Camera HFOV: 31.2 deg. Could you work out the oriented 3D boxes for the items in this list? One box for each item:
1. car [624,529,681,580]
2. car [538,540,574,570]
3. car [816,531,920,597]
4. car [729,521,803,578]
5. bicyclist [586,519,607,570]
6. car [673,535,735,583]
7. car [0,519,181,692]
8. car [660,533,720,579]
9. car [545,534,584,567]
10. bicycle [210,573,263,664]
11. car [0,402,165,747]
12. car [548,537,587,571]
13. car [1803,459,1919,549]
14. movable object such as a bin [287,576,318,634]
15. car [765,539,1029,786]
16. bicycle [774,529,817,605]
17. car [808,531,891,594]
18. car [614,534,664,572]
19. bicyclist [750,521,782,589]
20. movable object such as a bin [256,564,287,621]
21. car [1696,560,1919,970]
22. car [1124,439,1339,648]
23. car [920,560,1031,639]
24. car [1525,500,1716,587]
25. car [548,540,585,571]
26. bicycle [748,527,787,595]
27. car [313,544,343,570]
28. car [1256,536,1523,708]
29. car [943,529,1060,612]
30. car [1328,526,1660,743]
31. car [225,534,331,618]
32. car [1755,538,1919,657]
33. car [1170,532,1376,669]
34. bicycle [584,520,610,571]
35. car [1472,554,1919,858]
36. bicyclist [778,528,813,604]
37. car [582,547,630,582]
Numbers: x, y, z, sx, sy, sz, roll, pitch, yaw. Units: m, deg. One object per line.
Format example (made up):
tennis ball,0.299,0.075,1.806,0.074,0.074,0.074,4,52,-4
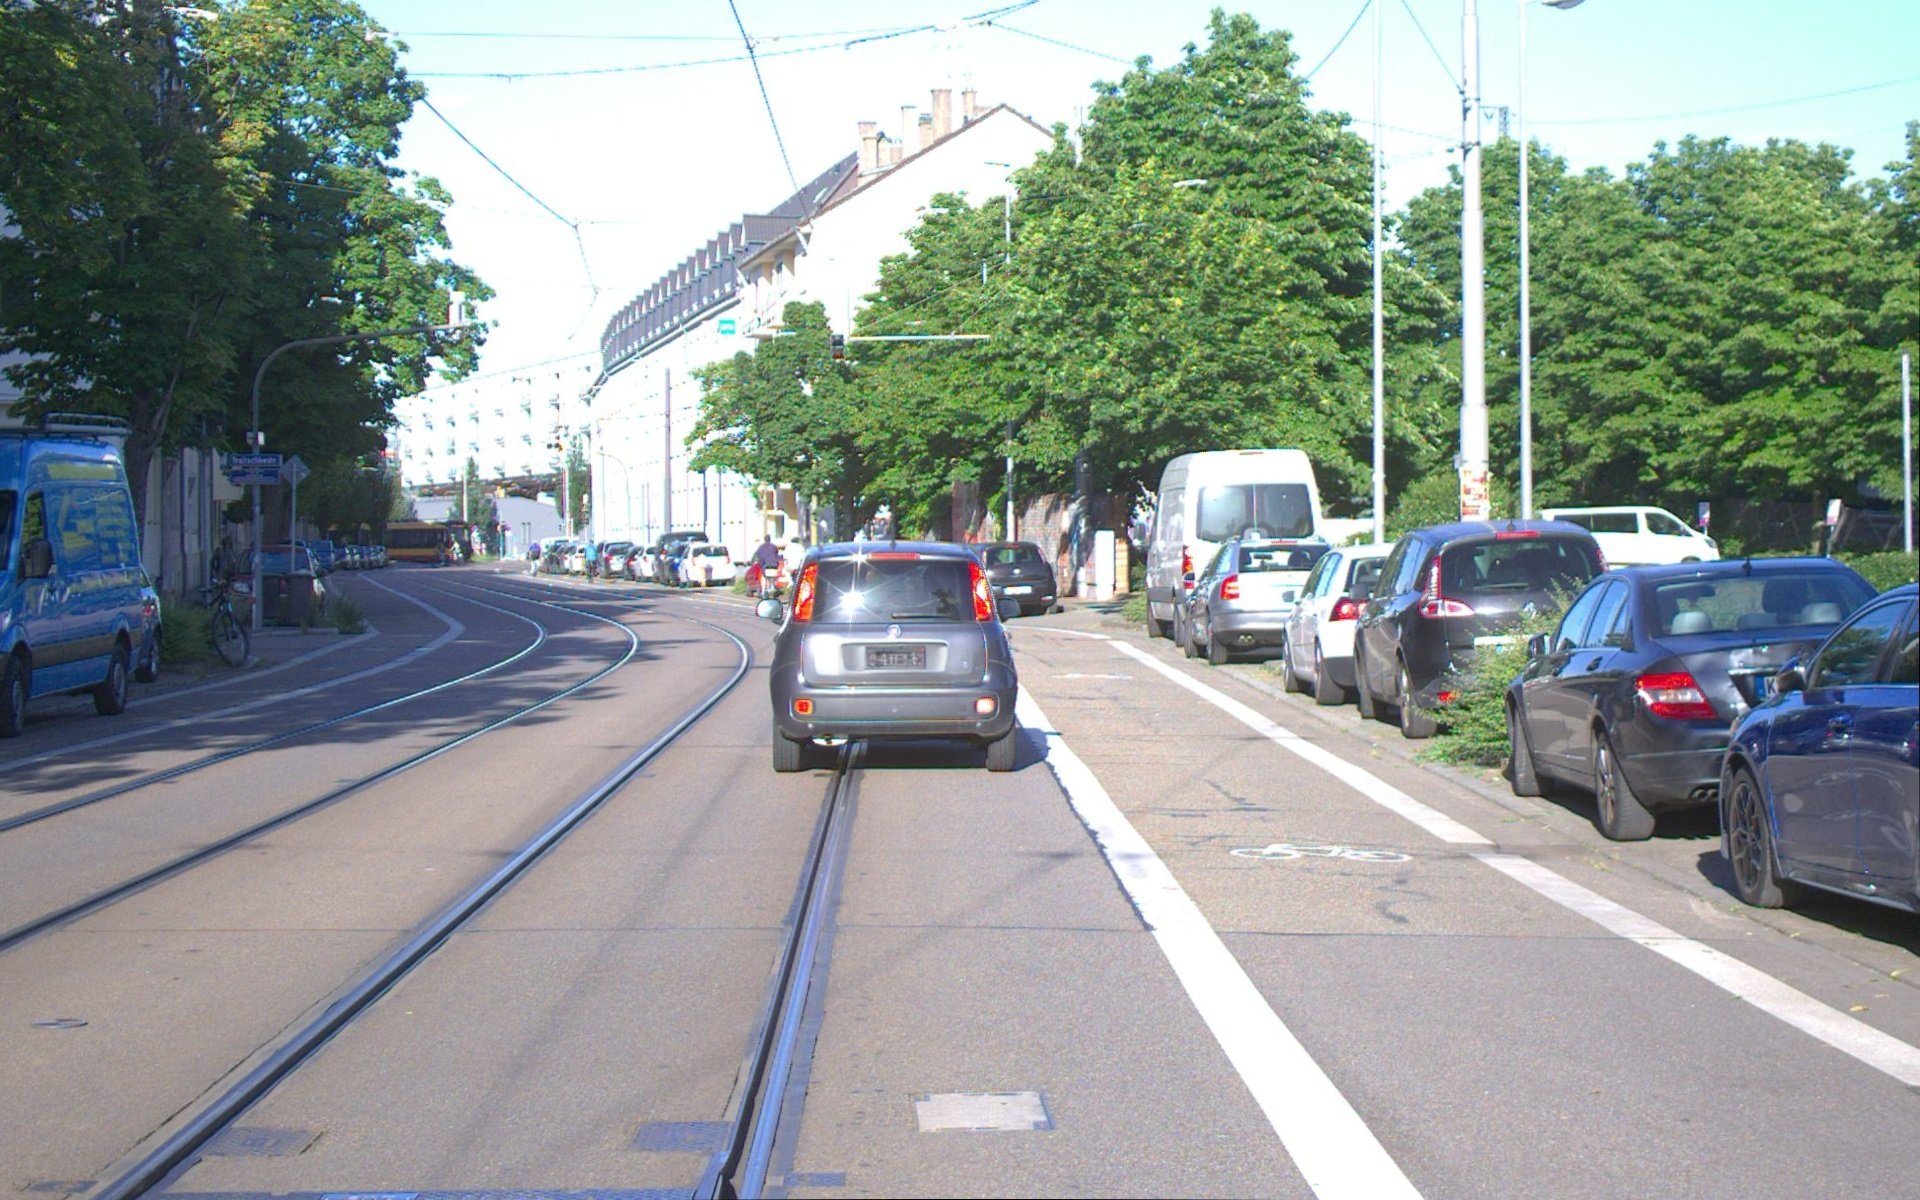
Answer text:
car,-11.848,-1.755,132.332,1.655,1.937,4.666,0,1,-11
car,-21.535,-2.388,183.133,1.582,1.593,3.377,0,1,-12
car,-2.271,-0.881,83.902,1.688,1.525,4.001,-2,1,-13
car,-5.592,-1.457,98.842,1.635,1.503,3.398,-3,1,-10
bicyclist,-14.448,-2.216,136.586,0.715,2.007,0.832,0,1,-12
car,-8.727,-1.402,116.892,1.655,1.566,3.500,0,1,-11
car,-10.060,0.004,37.847,1.791,1.555,4.642,9,1,-1
car,-9.530,-1.553,121.114,1.655,1.566,3.877,0,1,-11
car,-19.662,-2.464,170.788,1.582,1.593,3.377,0,1,-12
bicycle,-9.272,0.225,44.110,0.512,1.130,2.032,0,1,-8
car,-8.835,-0.253,30.741,2.017,2.816,6.032,1,1,0
car,-18.792,-2.203,164.511,1.582,1.593,3.377,0,1,-12
car,24.055,-2.473,88.222,4.186,2.233,2.144,-1,1,-13
movable object such as a bin,-11.378,0.087,59.506,0.484,0.984,0.660,0,1,-8
car,-0.439,0.360,23.950,1.650,1.536,4.235,1,1,-1
bicycle,-3.827,-0.765,79.854,0.675,1.741,2.158,0,1,-12
car,-2.853,-0.963,88.355,1.688,1.525,4.001,-2,1,-8
car,-12.802,-1.883,137.099,1.655,1.495,3.131,0,1,-11
bicyclist,-5.028,-1.164,89.178,0.699,1.753,0.758,0,1,-12
movable object such as a bin,-11.896,-0.133,59.414,0.484,0.984,0.660,0,1,-8
car,4.264,0.592,13.113,1.727,1.459,4.342,1,1,-4
car,3.721,-0.794,48.312,2.180,2.656,6.092,-3,1,-2
car,0.294,-0.040,72.063,1.688,1.525,4.356,-2,1,-8
car,16.469,-1.404,85.791,4.279,2.007,1.774,-2,1,-6
car,-20.300,-2.294,177.403,1.582,1.593,3.377,0,1,-12
bicycle,-4.992,-1.015,89.080,0.675,1.741,2.158,0,1,-12
car,-37.317,-2.553,202.957,1.706,1.491,3.723,0,1,-10
car,3.968,0.163,32.423,1.727,1.507,4.252,1,1,-4
car,0.785,-0.600,67.566,1.688,1.525,4.001,-2,1,-8
car,4.193,0.225,27.638,1.727,1.599,4.343,1,1,-4
car,-12.807,-0.462,64.720,1.688,1.525,4.001,0,1,-7
car,8.342,-0.044,31.485,1.309,1.030,3.057,1,1,-2
car,3.723,-0.029,41.640,1.910,1.524,4.601,-1,1,-2
bicycle,-14.427,-2.153,136.458,0.741,2.007,2.813,0,1,-12
car,4.161,0.488,18.951,1.727,1.459,4.499,1,1,-4
bicyclist,-3.821,-0.782,79.823,0.699,1.753,0.758,0,1,-12
car,-15.118,-1.529,146.714,1.582,1.400,3.377,-4,2,-12
